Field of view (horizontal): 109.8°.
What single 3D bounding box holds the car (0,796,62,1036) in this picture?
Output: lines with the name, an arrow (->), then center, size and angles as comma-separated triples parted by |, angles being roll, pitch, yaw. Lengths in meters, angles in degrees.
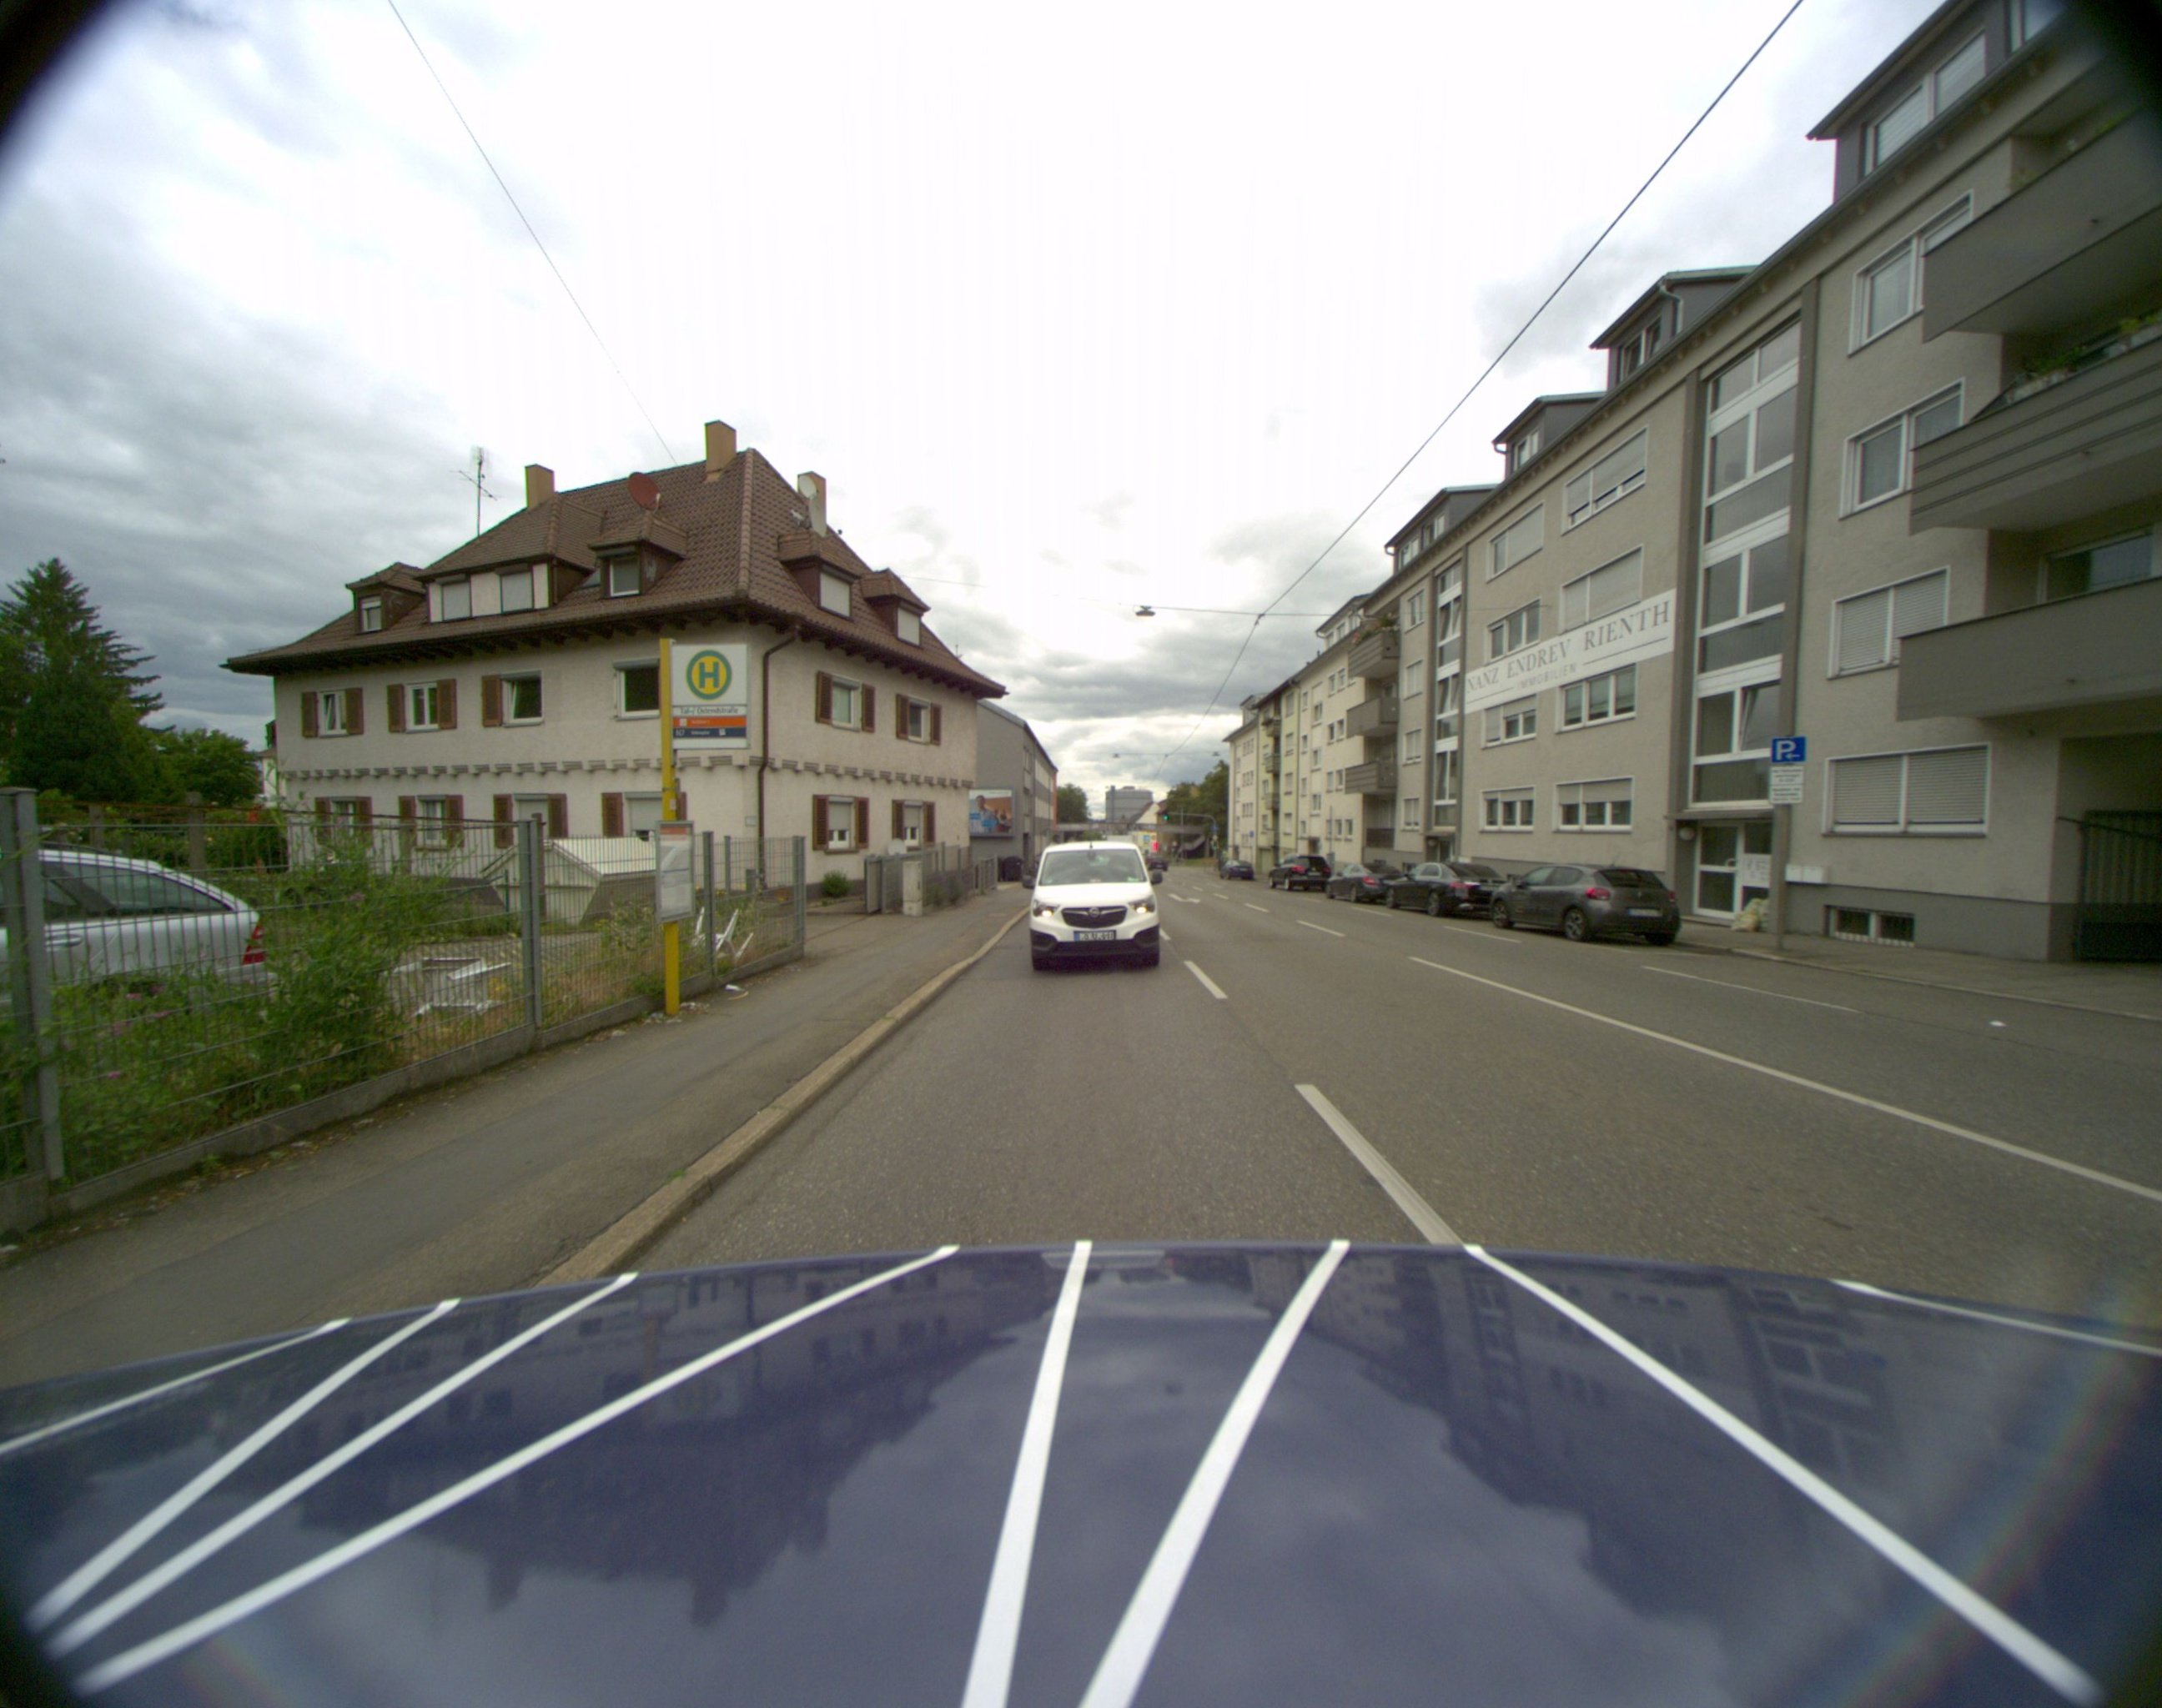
car -> -11.011, 0.513, 5.589 | 1.994, 2.002, 4.009 | 1, 1, 42

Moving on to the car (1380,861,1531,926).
car -> 9.914, 0.971, 20.599 | 1.772, 1.397, 4.718 | 3, 1, 1

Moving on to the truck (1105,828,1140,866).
truck -> 4.111, -0.673, 77.055 | 2.776, 3.554, 8.062 | -1, 0, -3

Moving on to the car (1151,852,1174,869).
car -> 8.047, 0.619, 75.301 | 1.874, 1.569, 4.308 | 3, 1, 3

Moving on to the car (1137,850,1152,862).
car -> 8.675, 0.249, 104.728 | 1.874, 1.569, 4.308 | 3, 1, 3

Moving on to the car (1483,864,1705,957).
car -> 9.854, 1.006, 15.016 | 1.772, 1.428, 3.801 | 3, 1, 1

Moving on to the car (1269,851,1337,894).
car -> 10.245, 0.795, 35.371 | 1.875, 1.743, 4.307 | 3, 1, 1

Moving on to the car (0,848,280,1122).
car -> -6.549, 0.681, 3.246 | 1.803, 1.413, 4.264 | 1, 0, -2

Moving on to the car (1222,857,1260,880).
car -> 10.899, 0.939, 52.107 | 1.874, 1.372, 4.308 | 3, 1, 3

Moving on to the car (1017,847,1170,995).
car -> 0.175, 0.791, 11.180 | 1.803, 1.736, 3.999 | -2, 1, 1

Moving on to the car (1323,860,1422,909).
car -> 9.949, 0.994, 26.316 | 1.772, 1.397, 4.307 | 3, 1, 1
